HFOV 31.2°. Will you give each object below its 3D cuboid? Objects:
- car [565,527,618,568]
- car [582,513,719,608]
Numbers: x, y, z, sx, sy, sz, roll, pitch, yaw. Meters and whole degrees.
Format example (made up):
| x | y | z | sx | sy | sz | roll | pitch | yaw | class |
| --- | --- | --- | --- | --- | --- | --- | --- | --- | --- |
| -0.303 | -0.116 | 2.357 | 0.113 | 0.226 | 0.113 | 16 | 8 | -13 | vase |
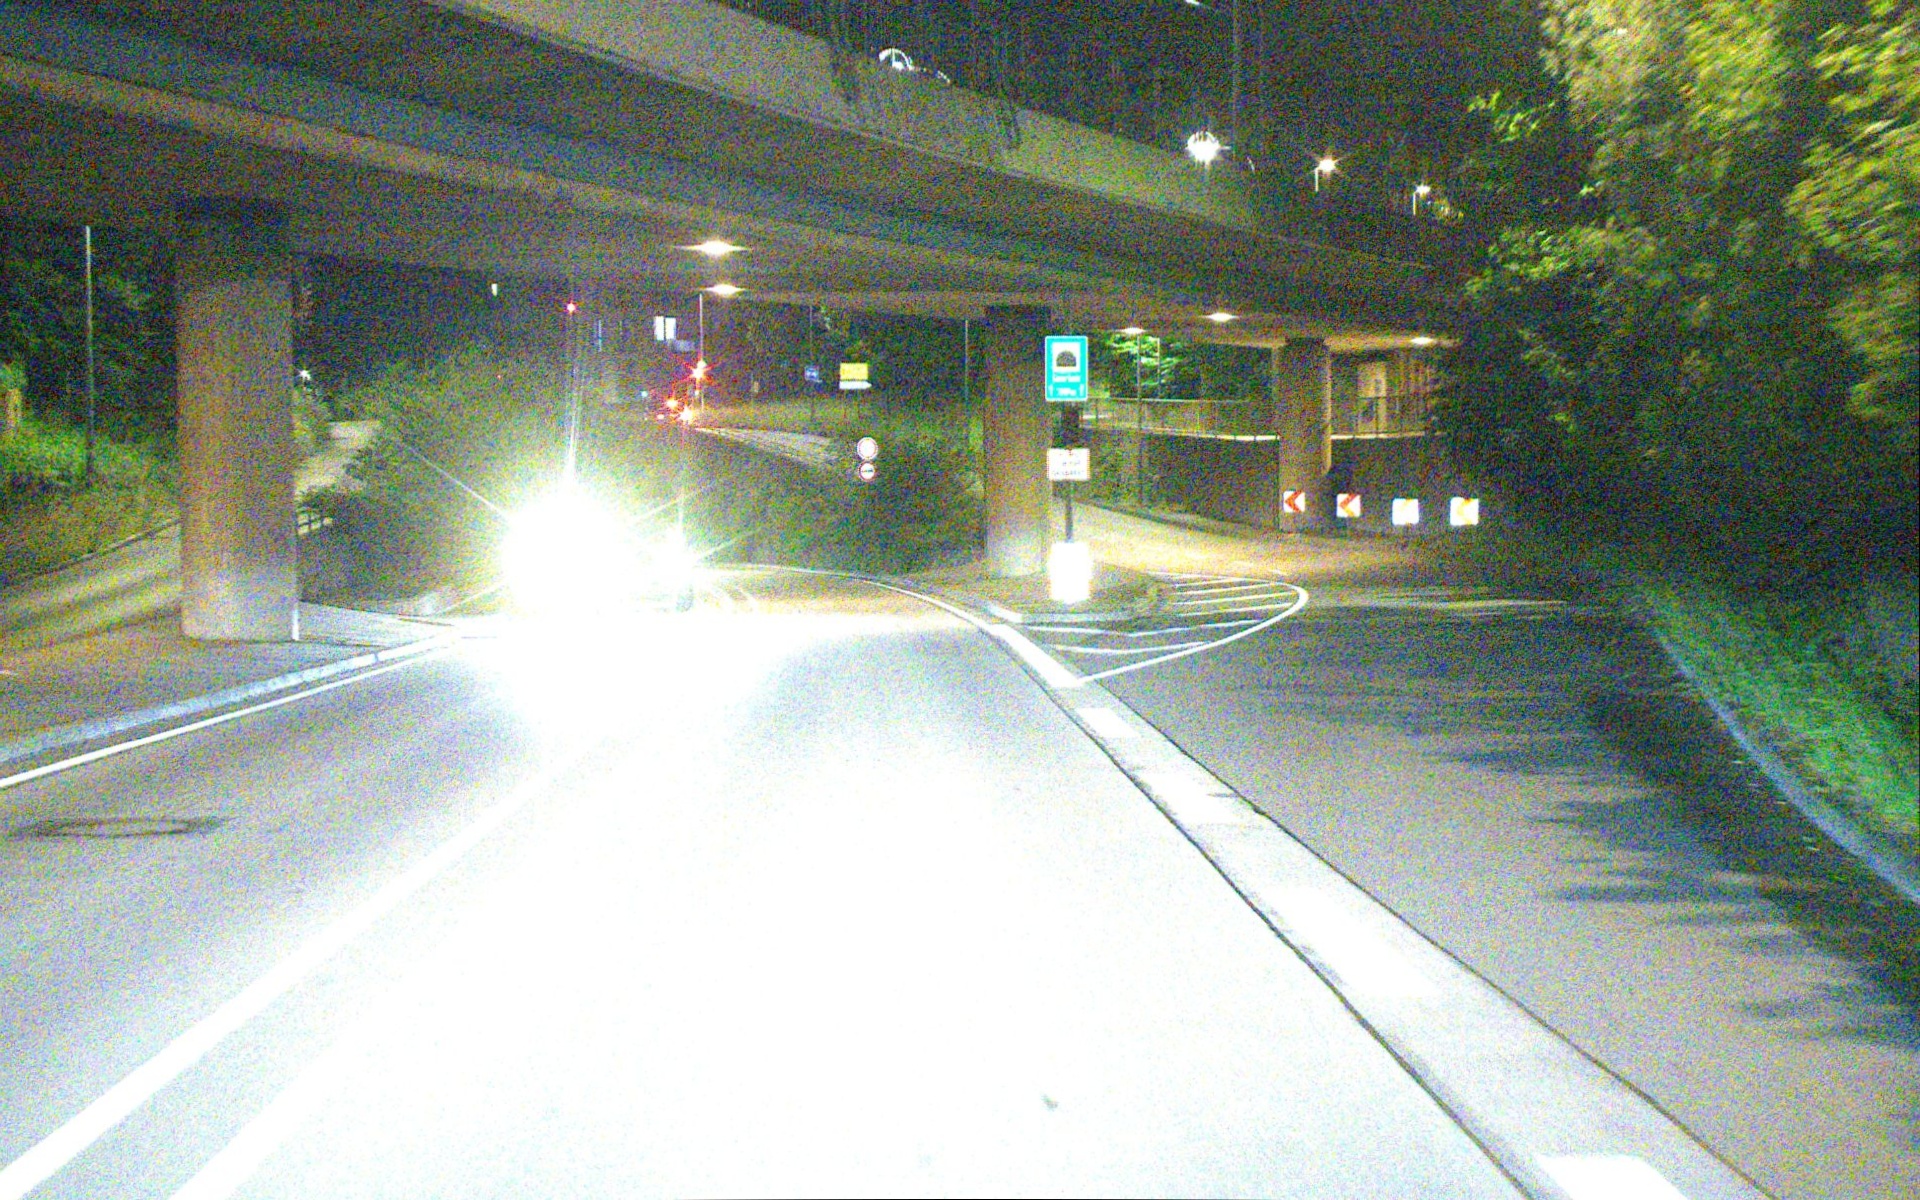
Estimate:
| x | y | z | sx | sy | sz | roll | pitch | yaw | class |
| --- | --- | --- | --- | --- | --- | --- | --- | --- | --- |
| -13.641 | -1.920 | 127.002 | 1.787 | 1.442 | 4.173 | 0 | 0 | -8 | car |
| -5.307 | -0.676 | 59.385 | 1.882 | 1.549 | 4.218 | -1 | 0 | 1 | car |
